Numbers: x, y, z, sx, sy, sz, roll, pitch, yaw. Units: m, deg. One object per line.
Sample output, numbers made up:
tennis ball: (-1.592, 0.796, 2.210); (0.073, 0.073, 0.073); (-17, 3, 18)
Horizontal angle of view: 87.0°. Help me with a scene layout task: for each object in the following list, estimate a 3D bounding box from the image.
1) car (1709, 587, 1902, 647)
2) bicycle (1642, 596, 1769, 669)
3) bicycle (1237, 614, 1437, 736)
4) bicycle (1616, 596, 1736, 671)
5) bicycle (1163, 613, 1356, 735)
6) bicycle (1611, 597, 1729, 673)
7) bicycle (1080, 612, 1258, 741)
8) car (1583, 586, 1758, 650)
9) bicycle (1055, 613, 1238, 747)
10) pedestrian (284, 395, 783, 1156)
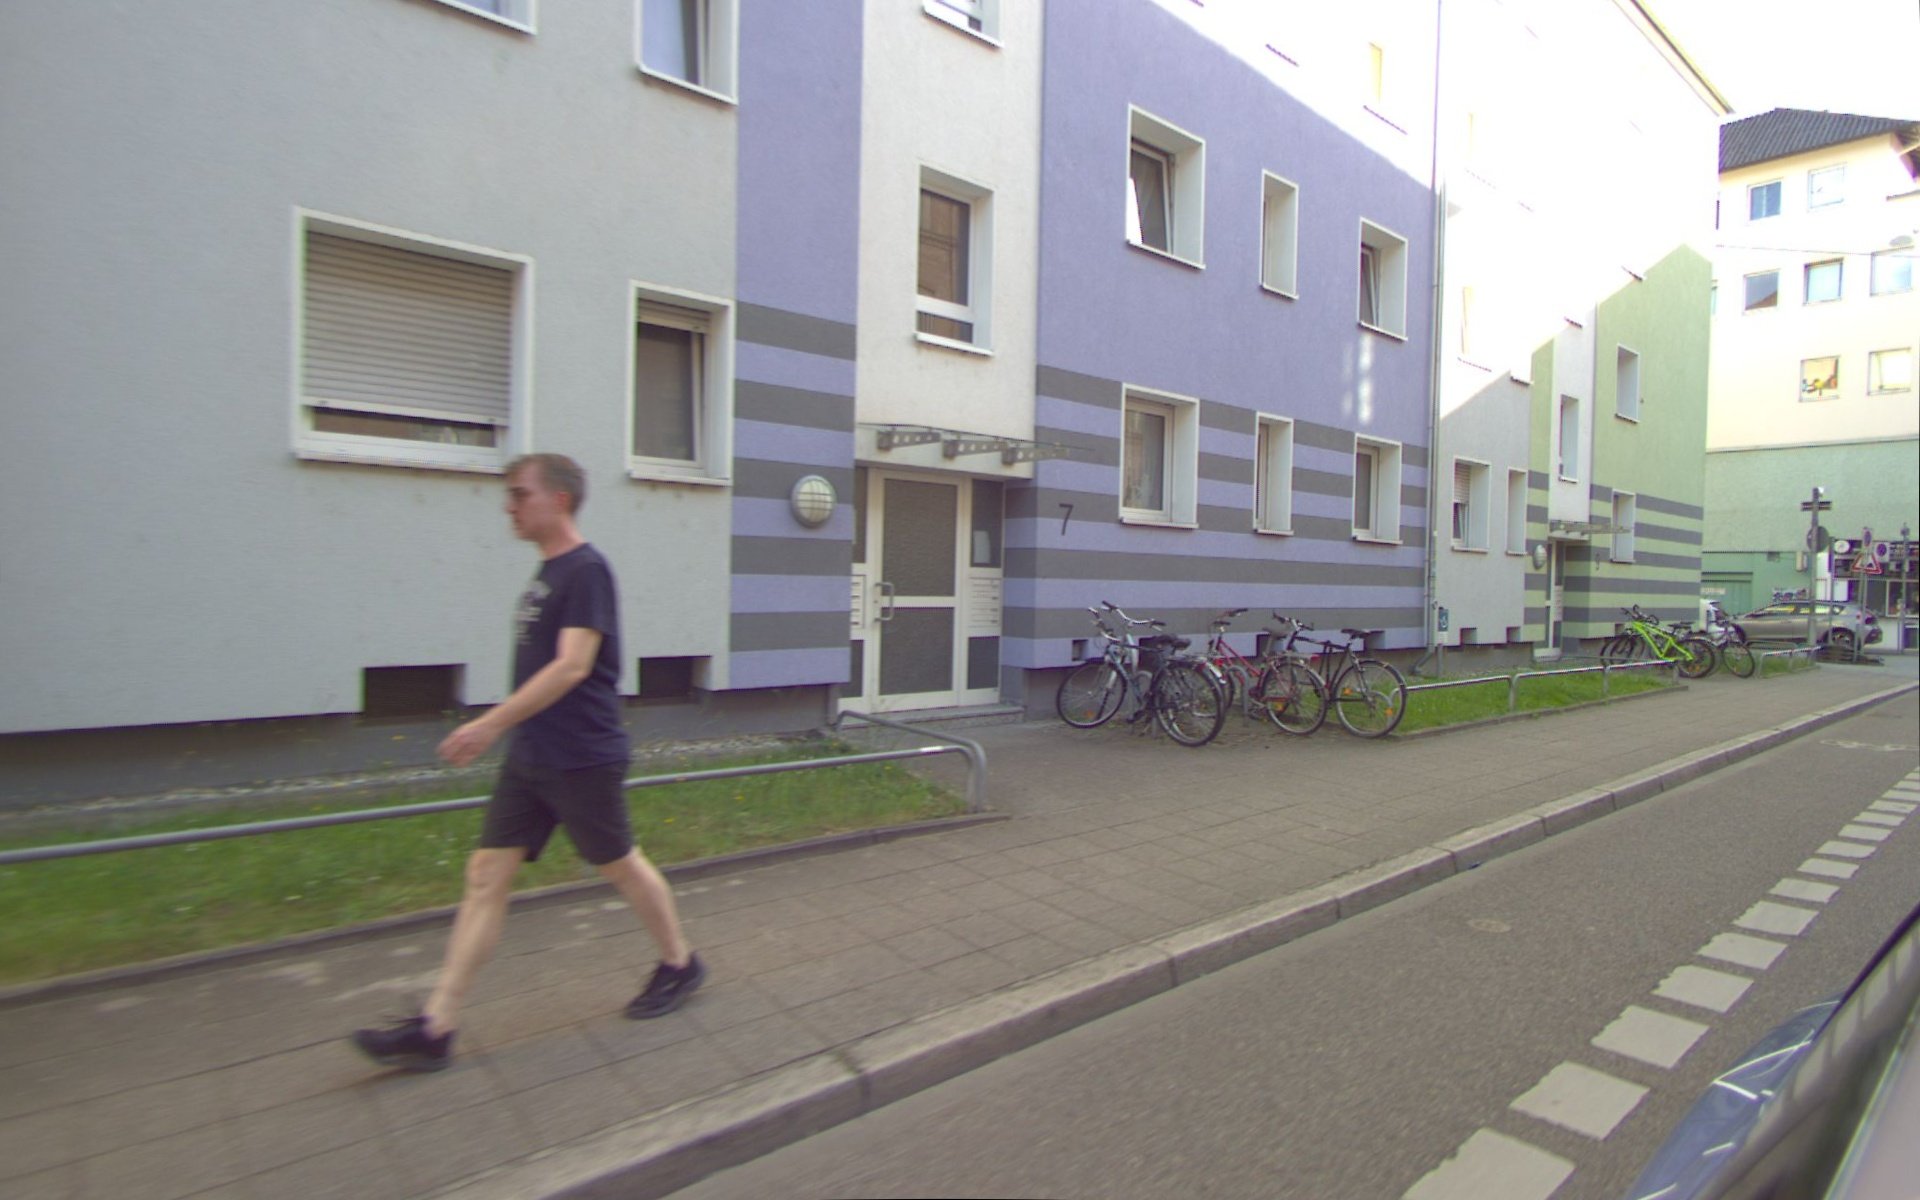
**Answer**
car: (24.848, 0.440, 29.841); (1.832, 1.500, 4.088); (0, 2, -39)
bicycle: (13.854, 0.579, 18.853); (0.542, 1.155, 1.753); (1, 4, -40)
bicycle: (3.594, 0.677, 9.782); (0.542, 0.958, 1.752); (0, 3, -40)
bicycle: (12.731, 0.571, 18.037); (1.641, 1.155, 0.279); (7, 4, 42)
bicycle: (2.837, 0.658, 9.740); (0.542, 0.958, 1.752); (0, 3, -40)
bicycle: (12.512, 0.590, 17.868); (1.602, 1.155, 0.234); (7, 4, 42)
bicycle: (1.833, 0.641, 9.143); (0.320, 0.958, 1.753); (0, 3, -39)
car: (19.342, 0.425, 27.654); (1.678, 1.500, 3.555); (0, 3, -38)
bicycle: (1.583, 0.652, 8.859); (0.329, 0.958, 1.752); (0, 3, -40)
pedestrian: (-1.243, 0.394, 2.990); (1.168, 1.781, 0.698); (0, 4, -40)
